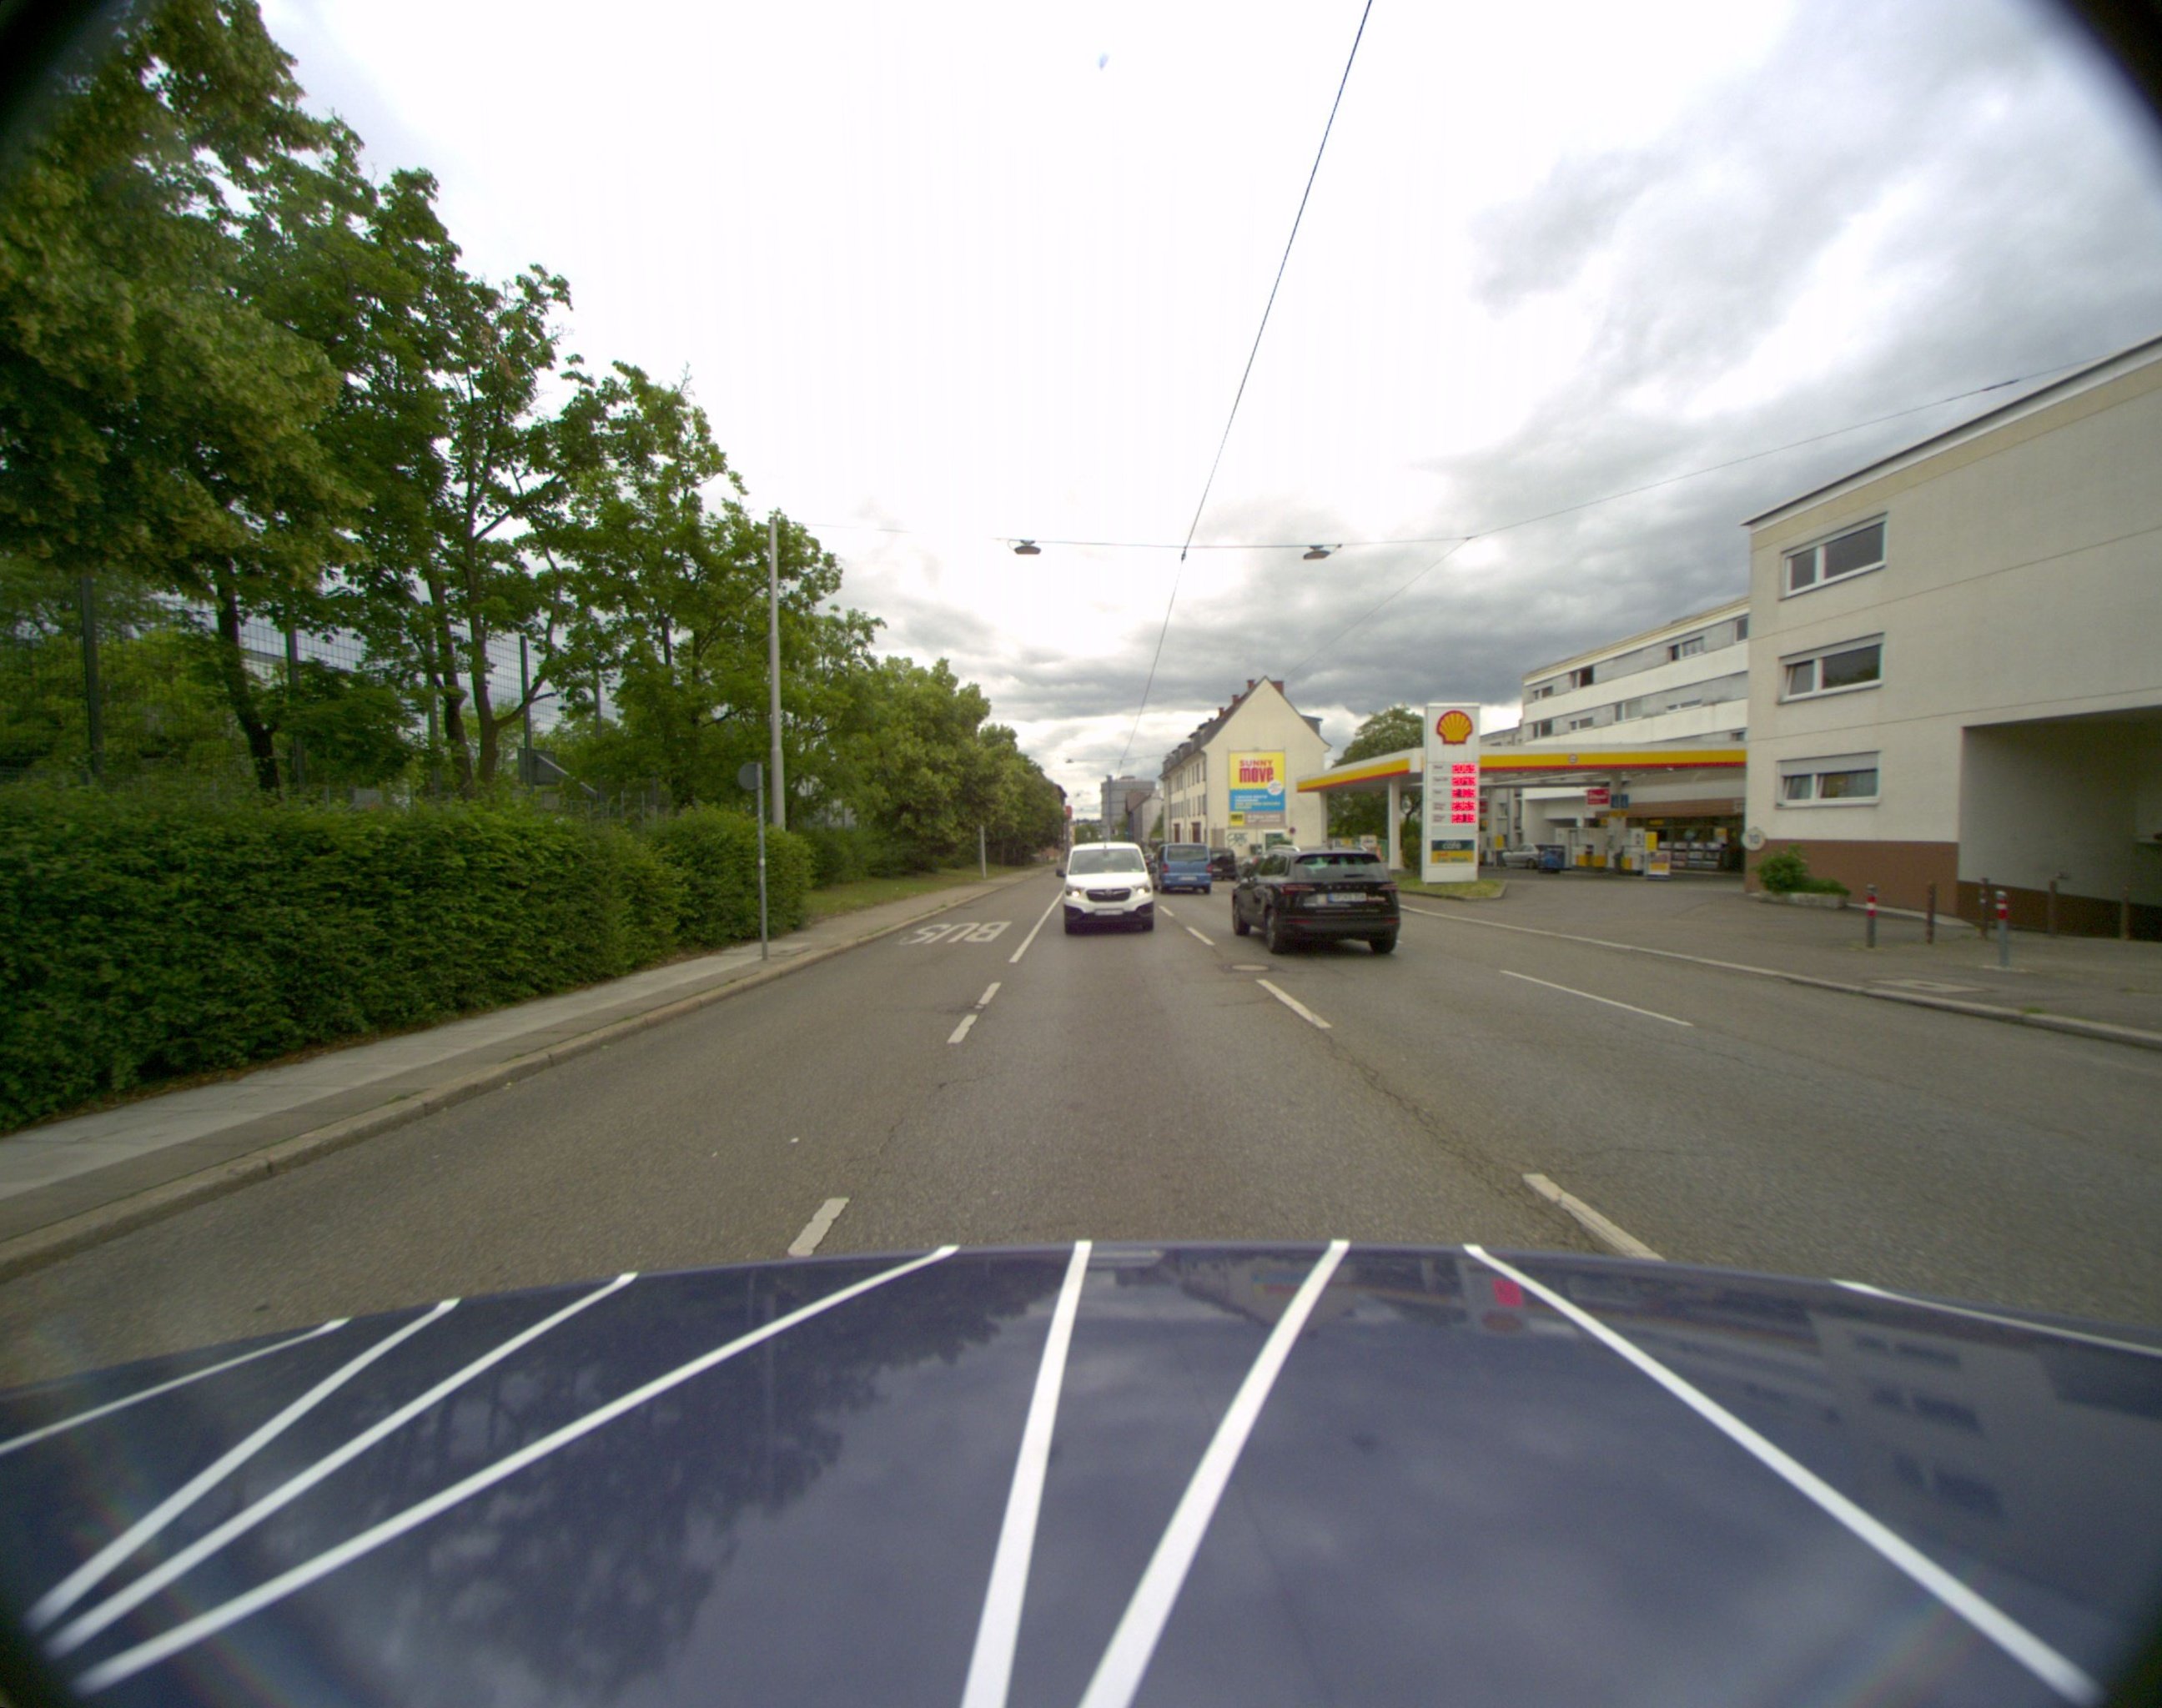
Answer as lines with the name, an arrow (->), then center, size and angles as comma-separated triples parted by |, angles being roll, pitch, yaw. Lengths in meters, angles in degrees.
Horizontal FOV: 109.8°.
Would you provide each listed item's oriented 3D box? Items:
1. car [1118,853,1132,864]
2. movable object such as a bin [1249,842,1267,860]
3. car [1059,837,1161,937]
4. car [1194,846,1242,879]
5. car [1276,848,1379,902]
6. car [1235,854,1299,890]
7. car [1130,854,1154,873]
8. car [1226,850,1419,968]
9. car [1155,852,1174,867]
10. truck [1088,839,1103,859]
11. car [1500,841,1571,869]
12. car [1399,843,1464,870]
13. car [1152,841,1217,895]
car -> 5.952, 0.619, 103.315 | 1.687, 1.546, 3.719 | 0, 0, 0
movable object such as a bin -> 15.471, -0.283, 66.514 | 1.268, 1.529, 1.104 | 0, 0, 1
car -> 0.593, 0.671, 16.360 | 1.850, 1.831, 4.285 | -2, -1, 1
car -> 7.837, 0.469, 43.849 | 1.856, 1.824, 4.701 | 0, 0, -1
car -> 7.774, 0.604, 24.456 | 1.920, 1.568, 4.700 | 0, 0, 2
car -> 7.807, 0.704, 32.346 | 1.802, 1.423, 4.744 | 0, 0, 3
car -> 5.100, 0.773, 64.037 | 1.782, 1.457, 4.499 | 0, 0, 1
car -> 3.647, 0.735, 12.302 | 1.844, 1.581, 4.164 | 0, 0, 1
car -> 8.432, 0.531, 77.050 | 1.551, 1.466, 3.604 | 0, 0, 1
truck -> 2.650, -0.840, 134.723 | 2.545, 3.478, 8.522 | 0, 0, 1
car -> 25.358, 0.055, 42.549 | 1.802, 1.412, 3.636 | -2, 0, 1
car -> 20.538, 0.140, 44.698 | 1.802, 1.412, 4.417 | -2, 0, 1
car -> 3.921, 0.497, 29.455 | 1.935, 1.889, 4.589 | -1, 0, 1
